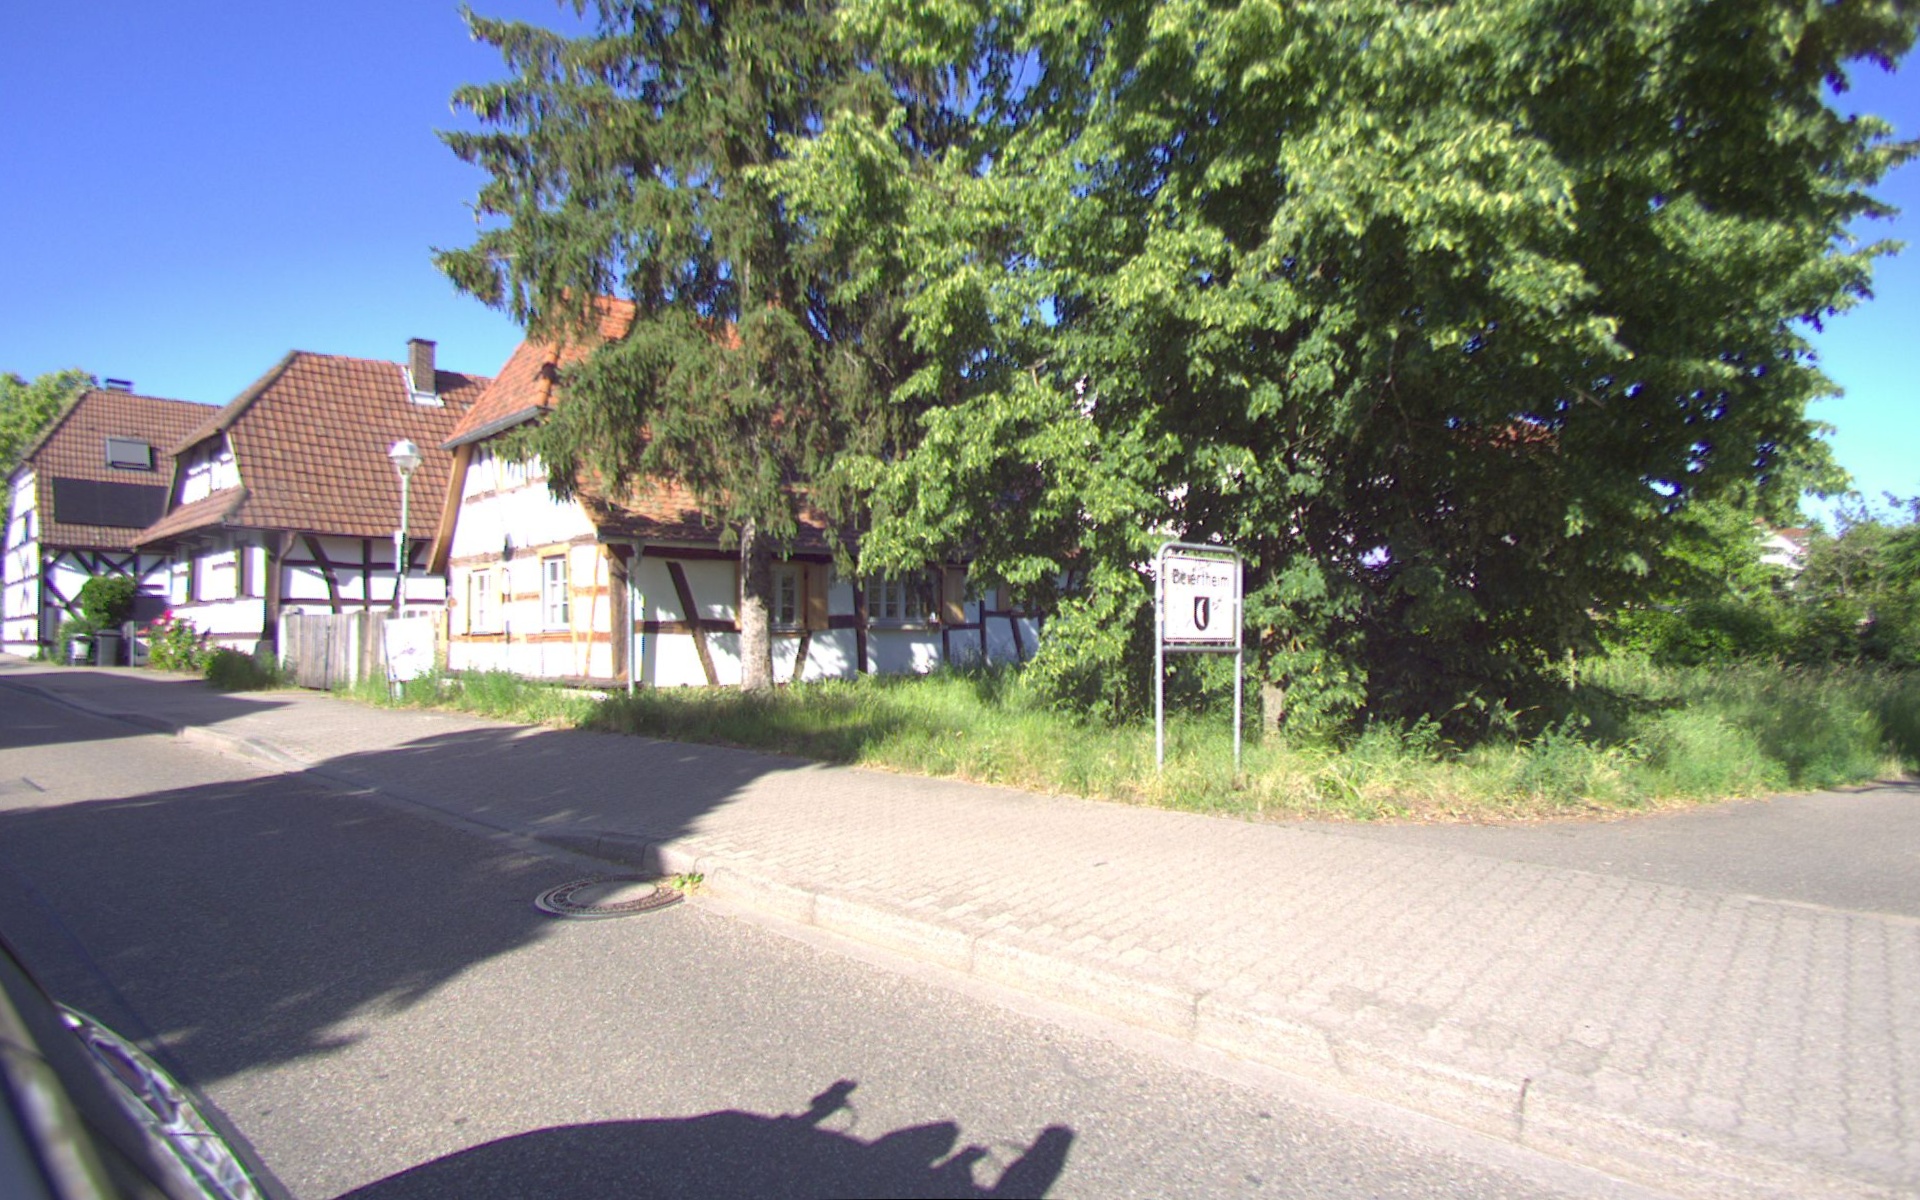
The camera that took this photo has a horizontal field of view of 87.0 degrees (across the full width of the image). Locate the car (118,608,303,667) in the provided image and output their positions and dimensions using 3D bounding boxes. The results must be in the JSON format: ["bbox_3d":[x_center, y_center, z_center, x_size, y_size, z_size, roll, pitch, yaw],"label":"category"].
[{"bbox_3d":[-22.132,1.136,29.997,1.818,1.604,4.061,0,-2,40],"label":"car"}]

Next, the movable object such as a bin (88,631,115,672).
[{"bbox_3d":[-24.869,1.492,29.326,0.667,1.149,0.471,0,-2,40],"label":"movable object such as a bin"}]

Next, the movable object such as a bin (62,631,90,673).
[{"bbox_3d":[-25.230,1.476,28.883,0.667,1.149,0.471,0,-2,40],"label":"movable object such as a bin"}]
